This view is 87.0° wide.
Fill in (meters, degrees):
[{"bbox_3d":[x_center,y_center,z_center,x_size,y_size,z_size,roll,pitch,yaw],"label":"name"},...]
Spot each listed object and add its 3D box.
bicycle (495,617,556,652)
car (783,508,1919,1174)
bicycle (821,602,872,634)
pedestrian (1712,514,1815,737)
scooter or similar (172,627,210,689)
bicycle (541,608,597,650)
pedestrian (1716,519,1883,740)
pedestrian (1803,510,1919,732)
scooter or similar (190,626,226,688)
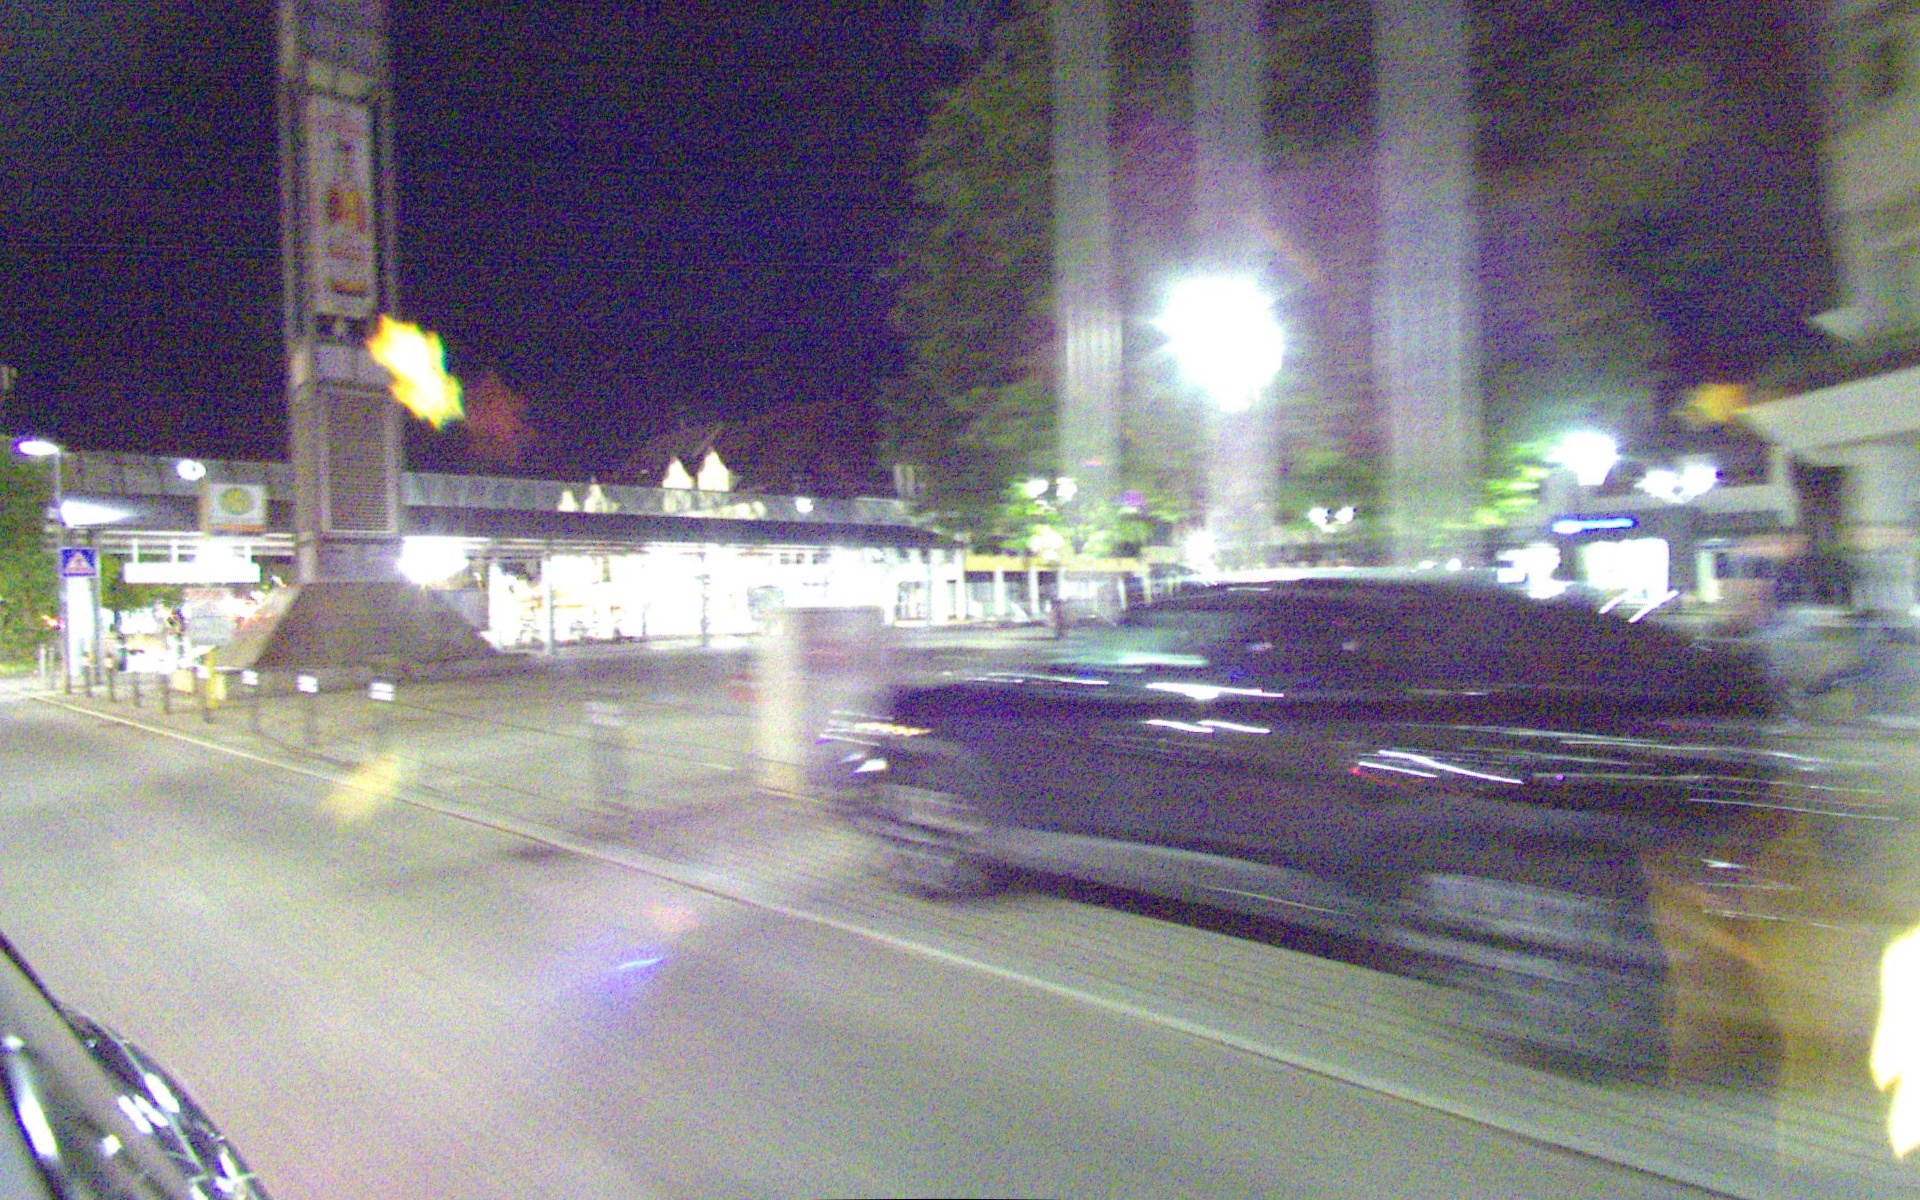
[{"bbox_3d":[-14.604,1.151,33.989,2.481,1.095,0.850,0,0,40],"label":"bicycle"},{"bbox_3d":[1.305,0.575,4.505,4.483,1.586,1.752,-1,1,43],"label":"car"},{"bbox_3d":[-5.033,0.787,44.781,2.509,1.374,0.765,0,0,40],"label":"bicycle"},{"bbox_3d":[6.863,0.209,8.653,0.494,1.835,0.505,0,0,-24],"label":"pedestrian"},{"bbox_3d":[-16.519,1.234,21.723,1.448,1.273,0.365,-3,0,43],"label":"scooter or similar"},{"bbox_3d":[-13.523,0.972,34.991,2.412,1.374,0.755,0,0,40],"label":"bicycle"},{"bbox_3d":[7.457,0.233,9.007,0.866,1.845,0.793,-3,1,-23],"label":"pedestrian"},{"bbox_3d":[8.093,0.164,8.751,0.781,1.831,1.026,-3,1,-34],"label":"pedestrian"},{"bbox_3d":[-16.325,1.231,21.951,1.448,1.298,0.313,-3,0,42],"label":"scooter or similar"}]
